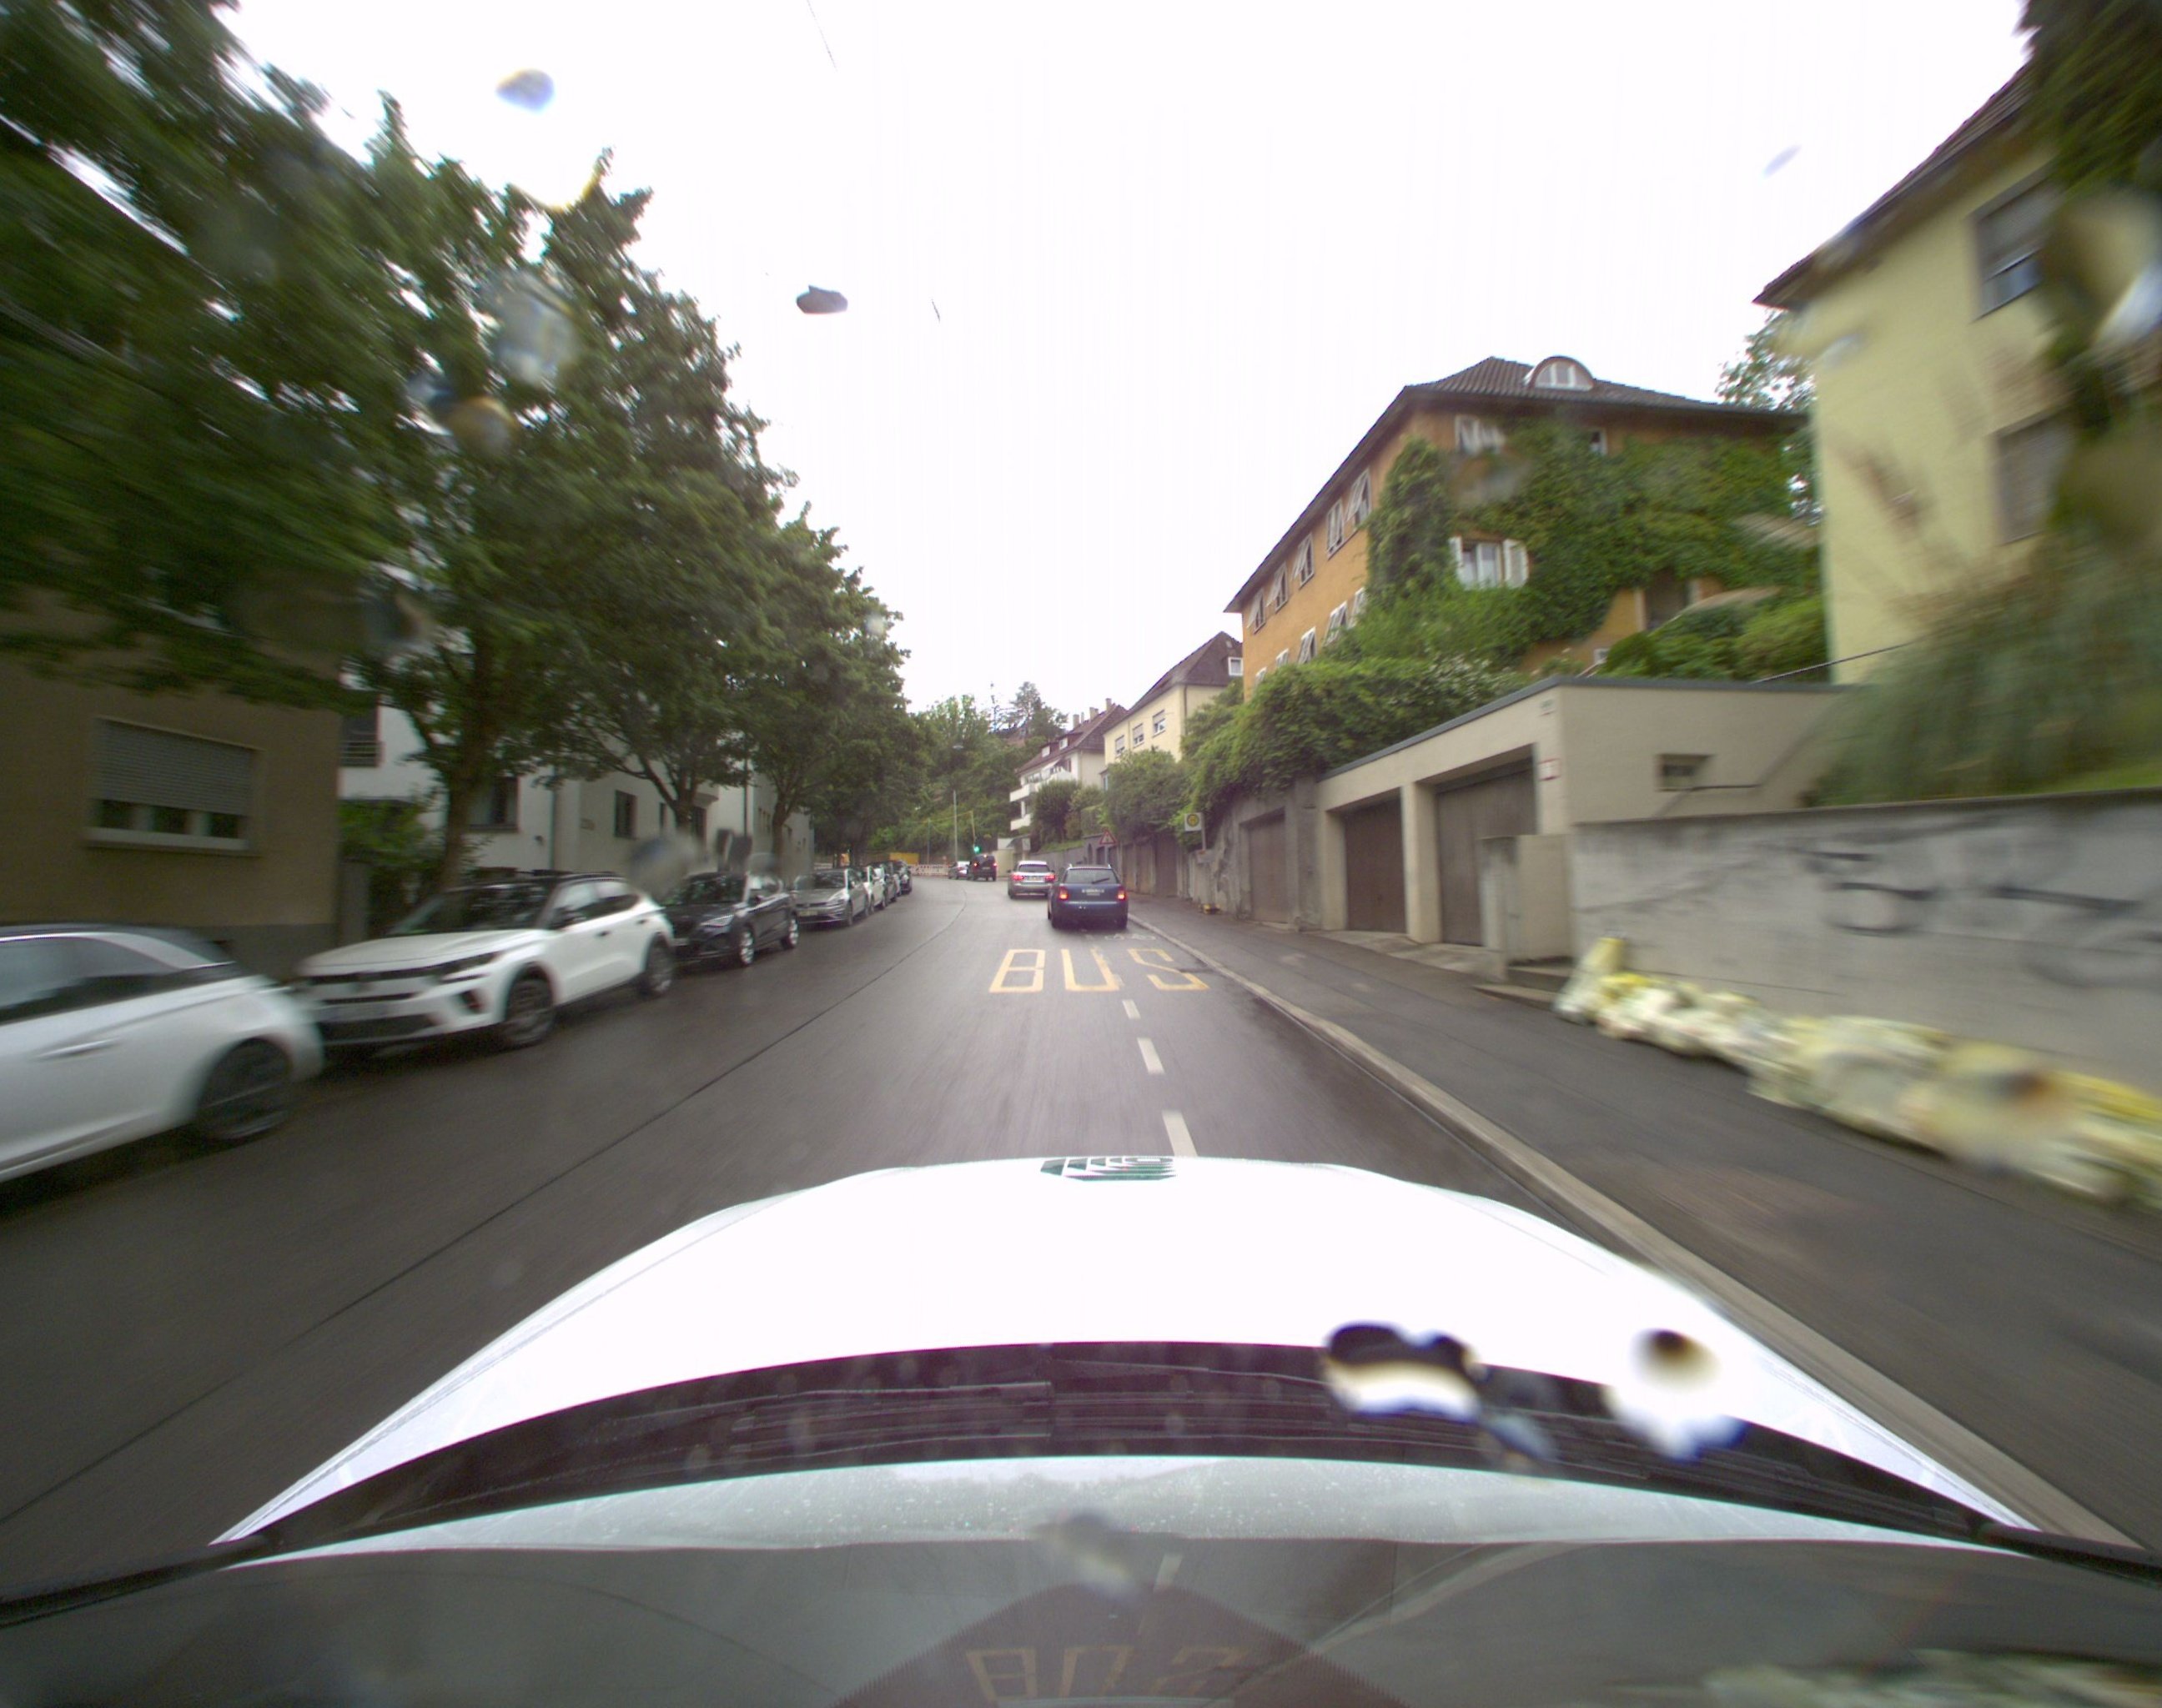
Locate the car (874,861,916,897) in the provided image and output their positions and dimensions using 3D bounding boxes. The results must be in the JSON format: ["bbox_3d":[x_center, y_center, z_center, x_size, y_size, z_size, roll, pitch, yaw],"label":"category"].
[{"bbox_3d":[-8.884,1.189,39.049,1.555,1.488,4.085,-5,-1,-9],"label":"car"}]

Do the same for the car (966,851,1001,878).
[{"bbox_3d":[-6.990,0.753,58.209,1.996,1.794,3.981,-2,0,-14],"label":"car"}]

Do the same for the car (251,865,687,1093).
[{"bbox_3d":[-5.897,1.032,8.557,1.589,1.658,3.919,-6,0,-3],"label":"car"}]

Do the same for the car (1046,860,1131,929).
[{"bbox_3d":[0.092,0.896,19.725,1.782,1.442,3.959,-1,0,-3],"label":"car"}]

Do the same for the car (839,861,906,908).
[{"bbox_3d":[-7.654,1.089,30.251,1.662,1.488,4.466,-5,-1,-6],"label":"car"}]

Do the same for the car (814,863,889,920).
[{"bbox_3d":[-7.037,1.099,25.279,1.572,1.488,3.462,-5,1,-6],"label":"car"}]

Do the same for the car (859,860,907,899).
[{"bbox_3d":[-8.545,1.085,35.319,1.554,1.511,3.374,-4,-1,-8],"label":"car"}]

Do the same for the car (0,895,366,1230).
[{"bbox_3d":[-5.892,1.105,3.801,1.611,1.471,3.671,-6,0,3],"label":"car"}]

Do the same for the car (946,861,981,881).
[{"bbox_3d":[-9.209,1.298,63.599,1.727,1.486,4.047,-2,0,-22],"label":"car"}]

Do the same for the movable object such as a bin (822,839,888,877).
[{"bbox_3d":[-25.091,0.457,90.399,7.232,4.014,2.846,0,0,32],"label":"movable object such as a bin"}]

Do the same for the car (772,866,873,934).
[{"bbox_3d":[-6.642,1.123,21.320,1.616,1.470,3.964,-4,-1,-6],"label":"car"}]

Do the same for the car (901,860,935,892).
[{"bbox_3d":[-8.768,1.171,43.908,1.633,1.565,3.834,-3,-1,-11],"label":"car"}]

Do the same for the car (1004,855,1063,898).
[{"bbox_3d":[-1.979,0.844,32.851,1.926,1.618,4.306,0,0,-9],"label":"car"}]

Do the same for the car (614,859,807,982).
[{"bbox_3d":[-6.117,1.008,13.972,1.615,1.658,3.918,-5,-1,-4],"label":"car"}]
